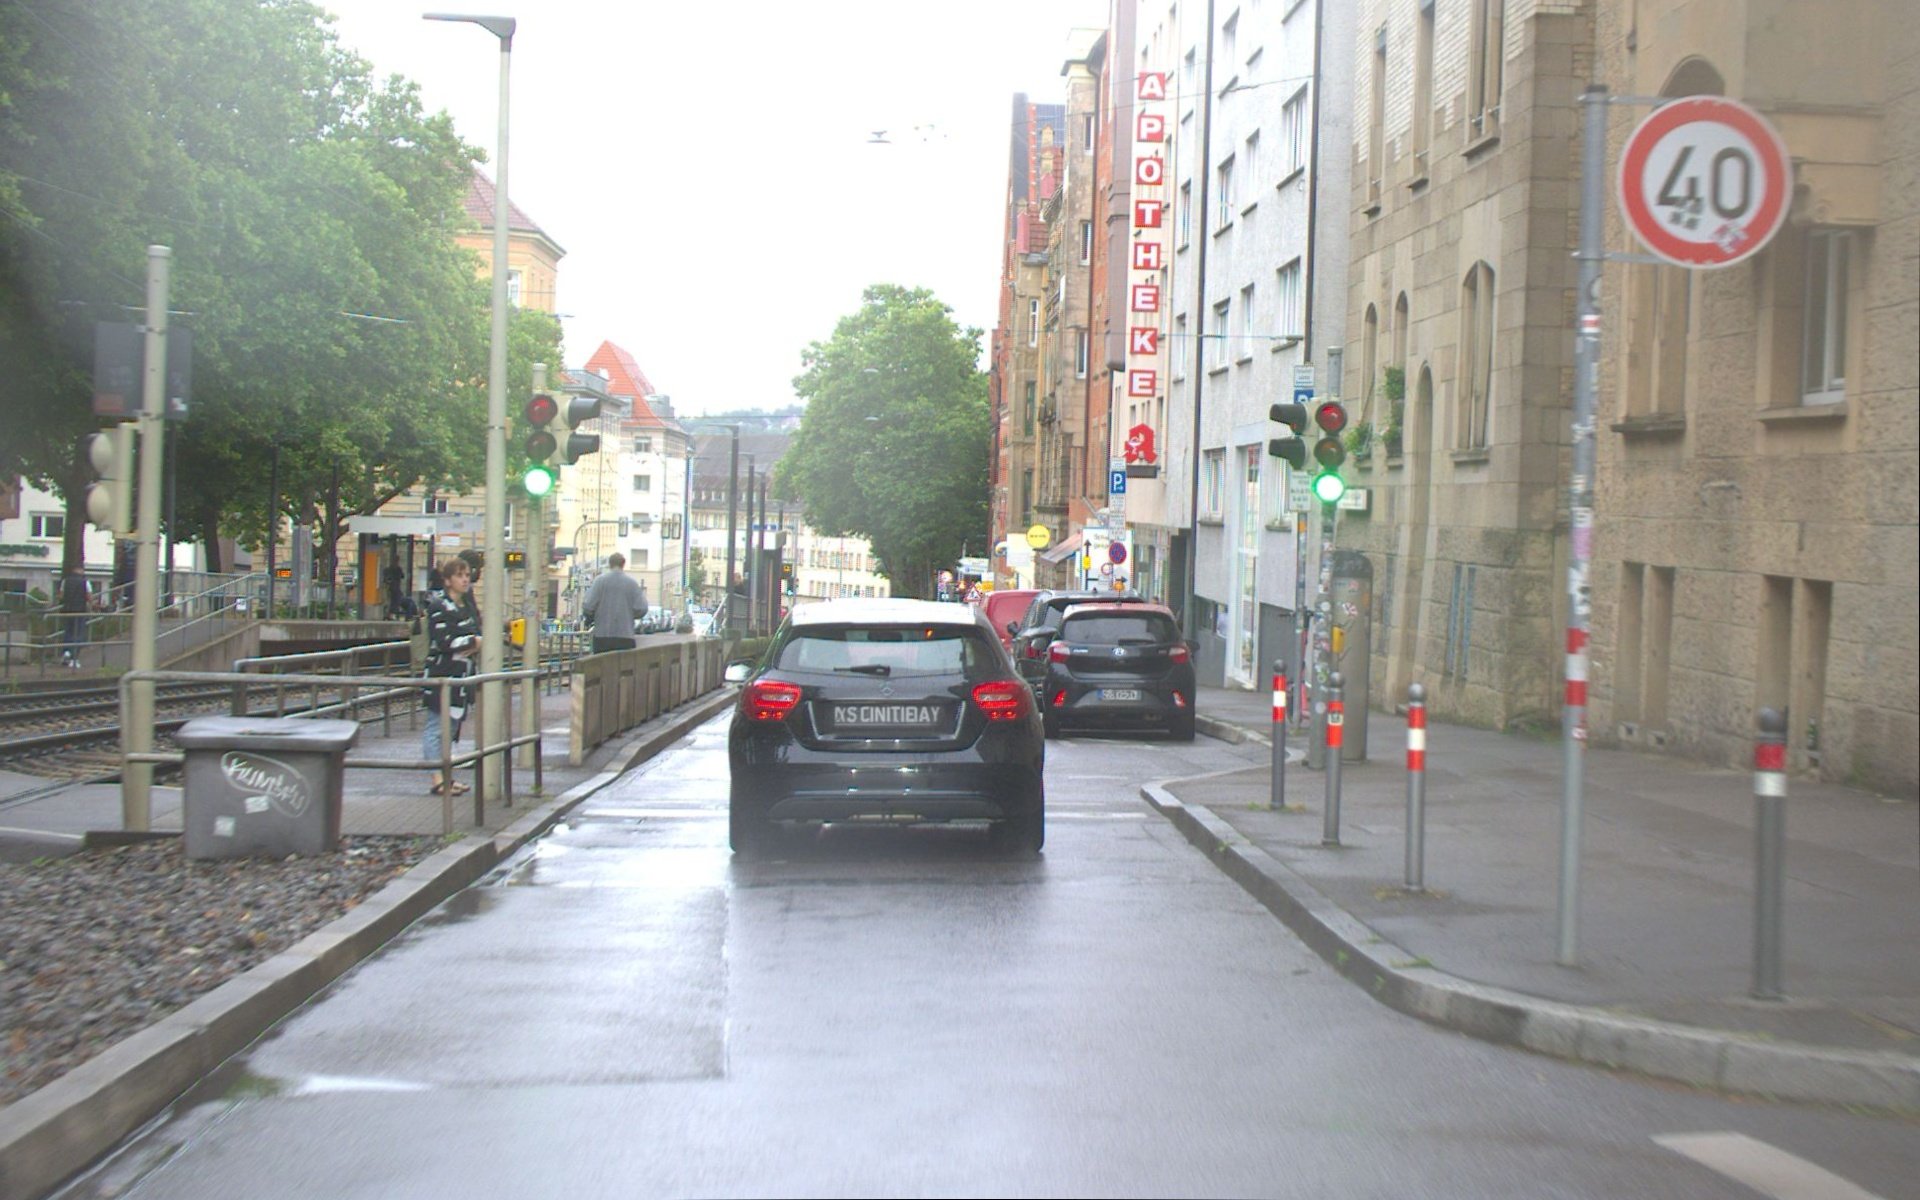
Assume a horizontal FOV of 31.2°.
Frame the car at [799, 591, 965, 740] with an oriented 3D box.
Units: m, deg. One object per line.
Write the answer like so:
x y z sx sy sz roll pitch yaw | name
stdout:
-0.892 0.704 39.159 1.785 1.576 4.000 0 1 -1 | car

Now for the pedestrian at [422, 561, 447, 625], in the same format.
-14.255 -0.192 93.277 0.518 1.711 0.551 2 0 -1 | pedestrian

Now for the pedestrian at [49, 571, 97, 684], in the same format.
-14.064 0.431 54.523 0.534 1.748 0.607 2 0 -1 | pedestrian

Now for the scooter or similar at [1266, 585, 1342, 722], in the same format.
3.459 0.518 34.640 0.448 1.316 1.778 -1 1 -4 | scooter or similar

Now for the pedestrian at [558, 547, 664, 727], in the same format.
-3.944 0.402 38.926 1.137 1.991 1.173 -1 1 -5 | pedestrian

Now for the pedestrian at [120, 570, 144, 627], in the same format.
-23.285 -0.048 96.681 0.519 1.590 0.600 0 0 -1 | pedestrian

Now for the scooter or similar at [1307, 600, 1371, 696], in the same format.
5.429 0.678 49.271 0.448 1.316 1.778 -1 1 -9 | scooter or similar

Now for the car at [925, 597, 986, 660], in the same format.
-0.170 0.955 116.190 1.993 2.007 4.000 -1 1 -1 | car

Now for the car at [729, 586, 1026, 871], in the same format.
-0.503 0.683 20.248 1.580 1.499 3.575 0 1 -2 | car

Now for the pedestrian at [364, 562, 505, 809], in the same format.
-3.566 0.568 23.386 0.806 1.628 0.892 -1 1 -1 | pedestrian

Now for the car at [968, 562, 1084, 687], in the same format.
1.088 0.379 58.308 1.759 2.007 4.000 -1 1 -2 | car

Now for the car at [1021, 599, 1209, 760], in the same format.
1.685 0.847 38.588 1.827 1.612 3.864 -1 1 -1 | car

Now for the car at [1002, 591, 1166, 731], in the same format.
1.497 0.721 42.850 1.759 1.573 4.000 -1 1 -2 | car
